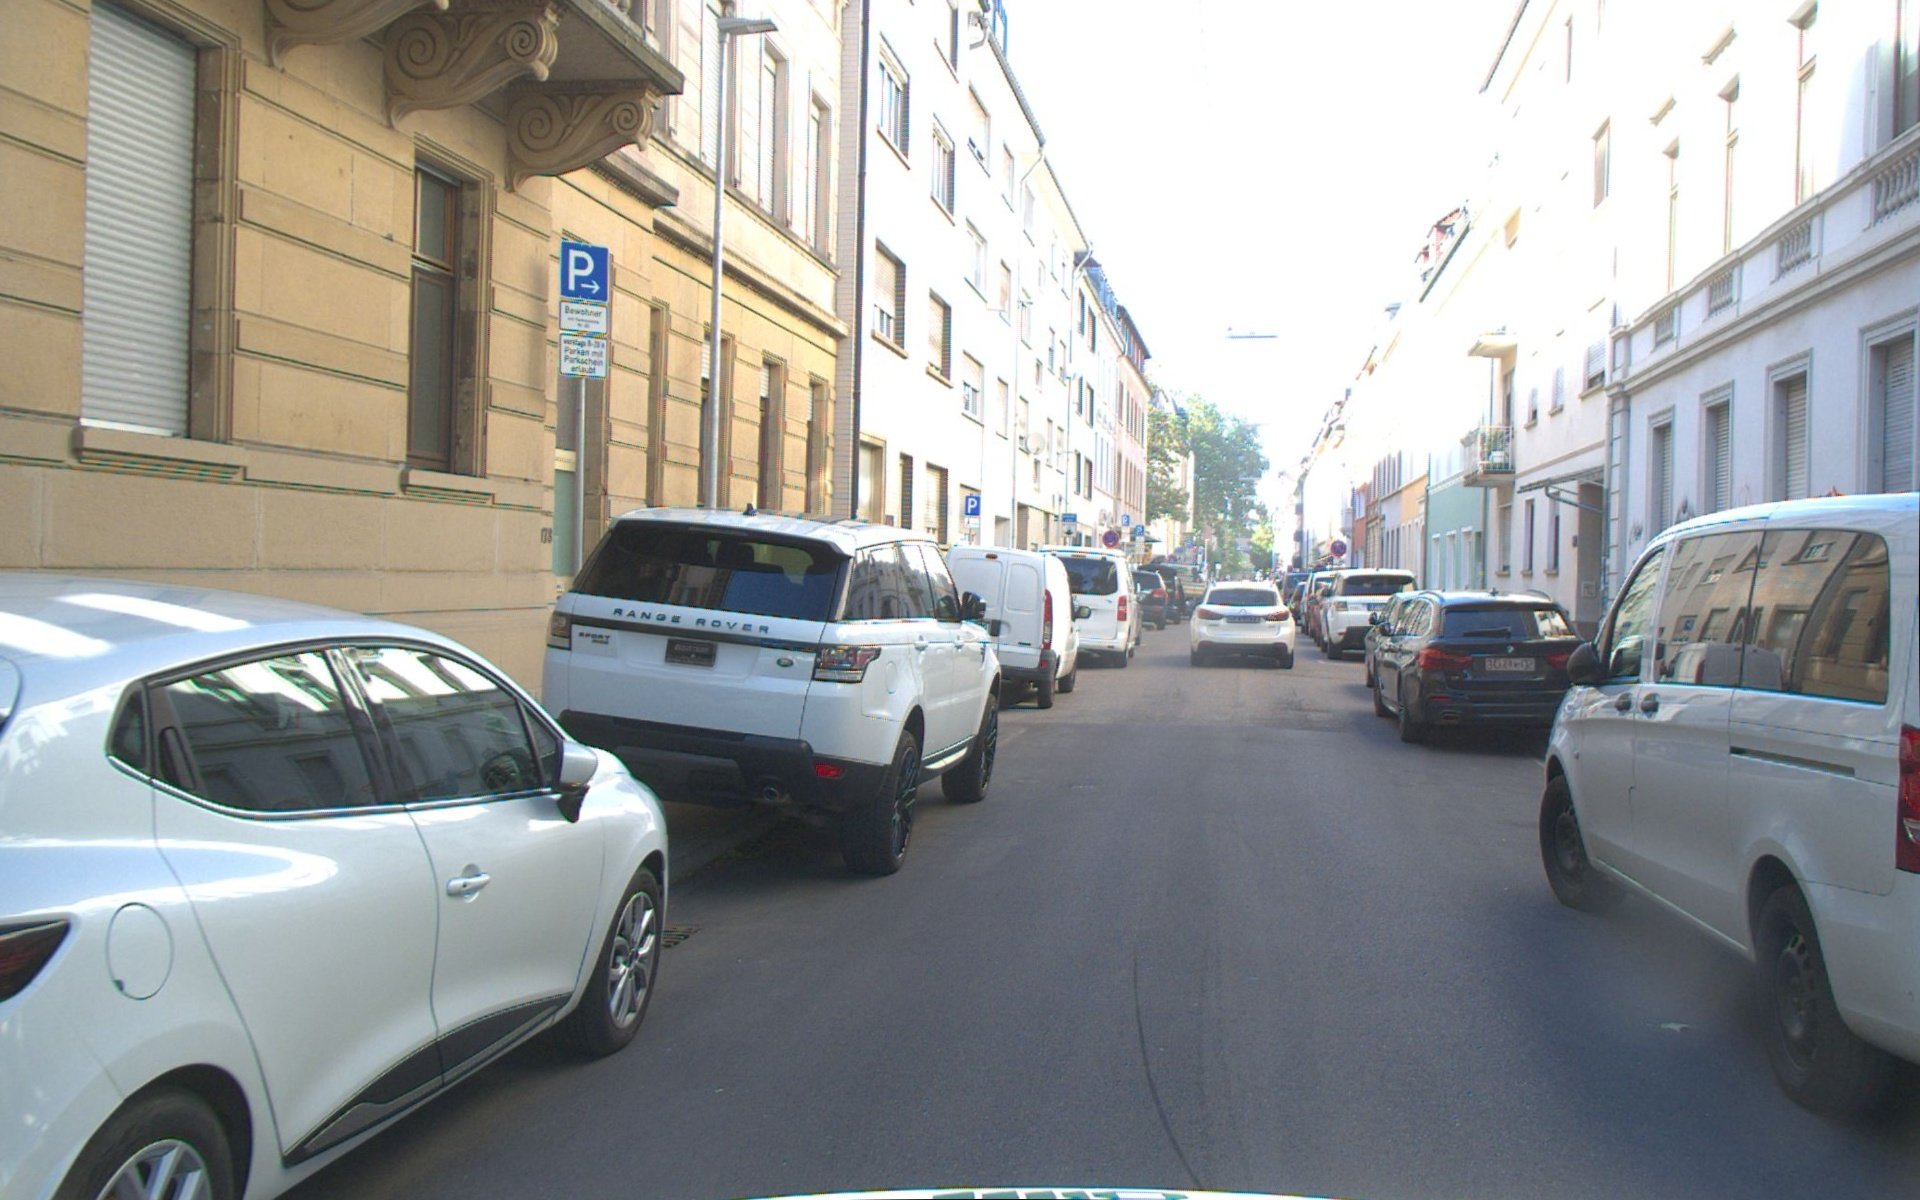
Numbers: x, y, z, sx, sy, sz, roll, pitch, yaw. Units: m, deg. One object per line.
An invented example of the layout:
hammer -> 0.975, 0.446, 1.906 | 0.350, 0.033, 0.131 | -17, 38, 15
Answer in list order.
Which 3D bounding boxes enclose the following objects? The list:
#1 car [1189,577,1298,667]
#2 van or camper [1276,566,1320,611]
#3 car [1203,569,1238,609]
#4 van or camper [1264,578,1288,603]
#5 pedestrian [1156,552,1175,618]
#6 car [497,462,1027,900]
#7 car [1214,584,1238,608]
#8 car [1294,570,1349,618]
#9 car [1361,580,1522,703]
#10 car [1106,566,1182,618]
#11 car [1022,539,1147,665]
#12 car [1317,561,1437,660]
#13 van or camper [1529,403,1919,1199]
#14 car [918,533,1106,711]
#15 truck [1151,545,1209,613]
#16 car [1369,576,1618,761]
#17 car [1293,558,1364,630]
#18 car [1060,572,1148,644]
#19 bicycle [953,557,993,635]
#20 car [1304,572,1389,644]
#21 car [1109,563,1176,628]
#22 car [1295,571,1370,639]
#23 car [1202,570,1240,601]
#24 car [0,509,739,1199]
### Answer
car -> 5.152, 0.365, 29.855 | 1.795, 1.512, 4.060 | 0, 0, 11
van or camper -> 16.056, -0.563, 78.745 | 1.737, 2.072, 4.574 | 0, 0, 8
car -> 12.967, -0.552, 82.508 | 1.612, 1.900, 4.003 | 1, 1, 7
van or camper -> 26.926, -0.793, 140.847 | 1.951, 1.959, 4.003 | 1, -1, 10
pedestrian -> 7.142, -0.522, 57.531 | 0.606, 2.268, 0.688 | 1, -1, 10
car -> -0.890, 0.343, 10.190 | 1.978, 2.049, 4.547 | 1, 1, 10
car -> 19.154, -0.313, 119.037 | 1.590, 1.625, 3.583 | 2, 1, 10
car -> 12.839, -0.250, 58.957 | 1.702, 1.604, 4.382 | 1, 1, 10
car -> 6.773, 0.514, 23.629 | 1.709, 1.473, 3.873 | 3, 2, 10
car -> 6.743, -0.318, 60.109 | 2.389, 1.735, 5.247 | 2, 1, 10
car -> 2.336, -0.020, 29.932 | 1.854, 1.992, 4.786 | 3, 2, 8
car -> 8.414, 0.140, 33.736 | 1.962, 1.814, 4.943 | 1, 1, 10
van or camper -> 3.708, 0.488, 6.465 | 1.853, 2.048, 5.036 | 1, 1, 8
car -> 0.770, 0.206, 21.134 | 1.708, 1.908, 4.094 | 5, 2, 10
truck -> 8.930, -0.792, 67.579 | 2.111, 2.635, 6.253 | 1, 0, 5
car -> 5.455, 0.586, 17.497 | 1.776, 1.546, 4.732 | 3, 2, 10
car -> 10.918, -0.181, 49.207 | 1.744, 1.996, 4.340 | 1, 0, 9
car -> 3.313, 0.141, 37.439 | 1.670, 1.475, 4.305 | 2, 1, 9
bicycle -> 0.279, -0.087, 33.985 | 0.545, 1.535, 1.802 | 3, 1, 6
car -> 9.224, 0.146, 39.689 | 1.705, 1.596, 4.036 | 1, 1, 10
car -> 5.642, -0.192, 51.159 | 1.840, 1.785, 4.547 | 4, 2, 6
car -> 9.912, 0.104, 44.189 | 1.547, 1.660, 3.685 | 3, 1, 7
car -> 12.355, -0.691, 78.286 | 1.720, 1.440, 4.004 | -1, 1, 9
car -> -2.042, 0.608, 4.290 | 1.827, 1.588, 3.945 | 3, 1, 8
